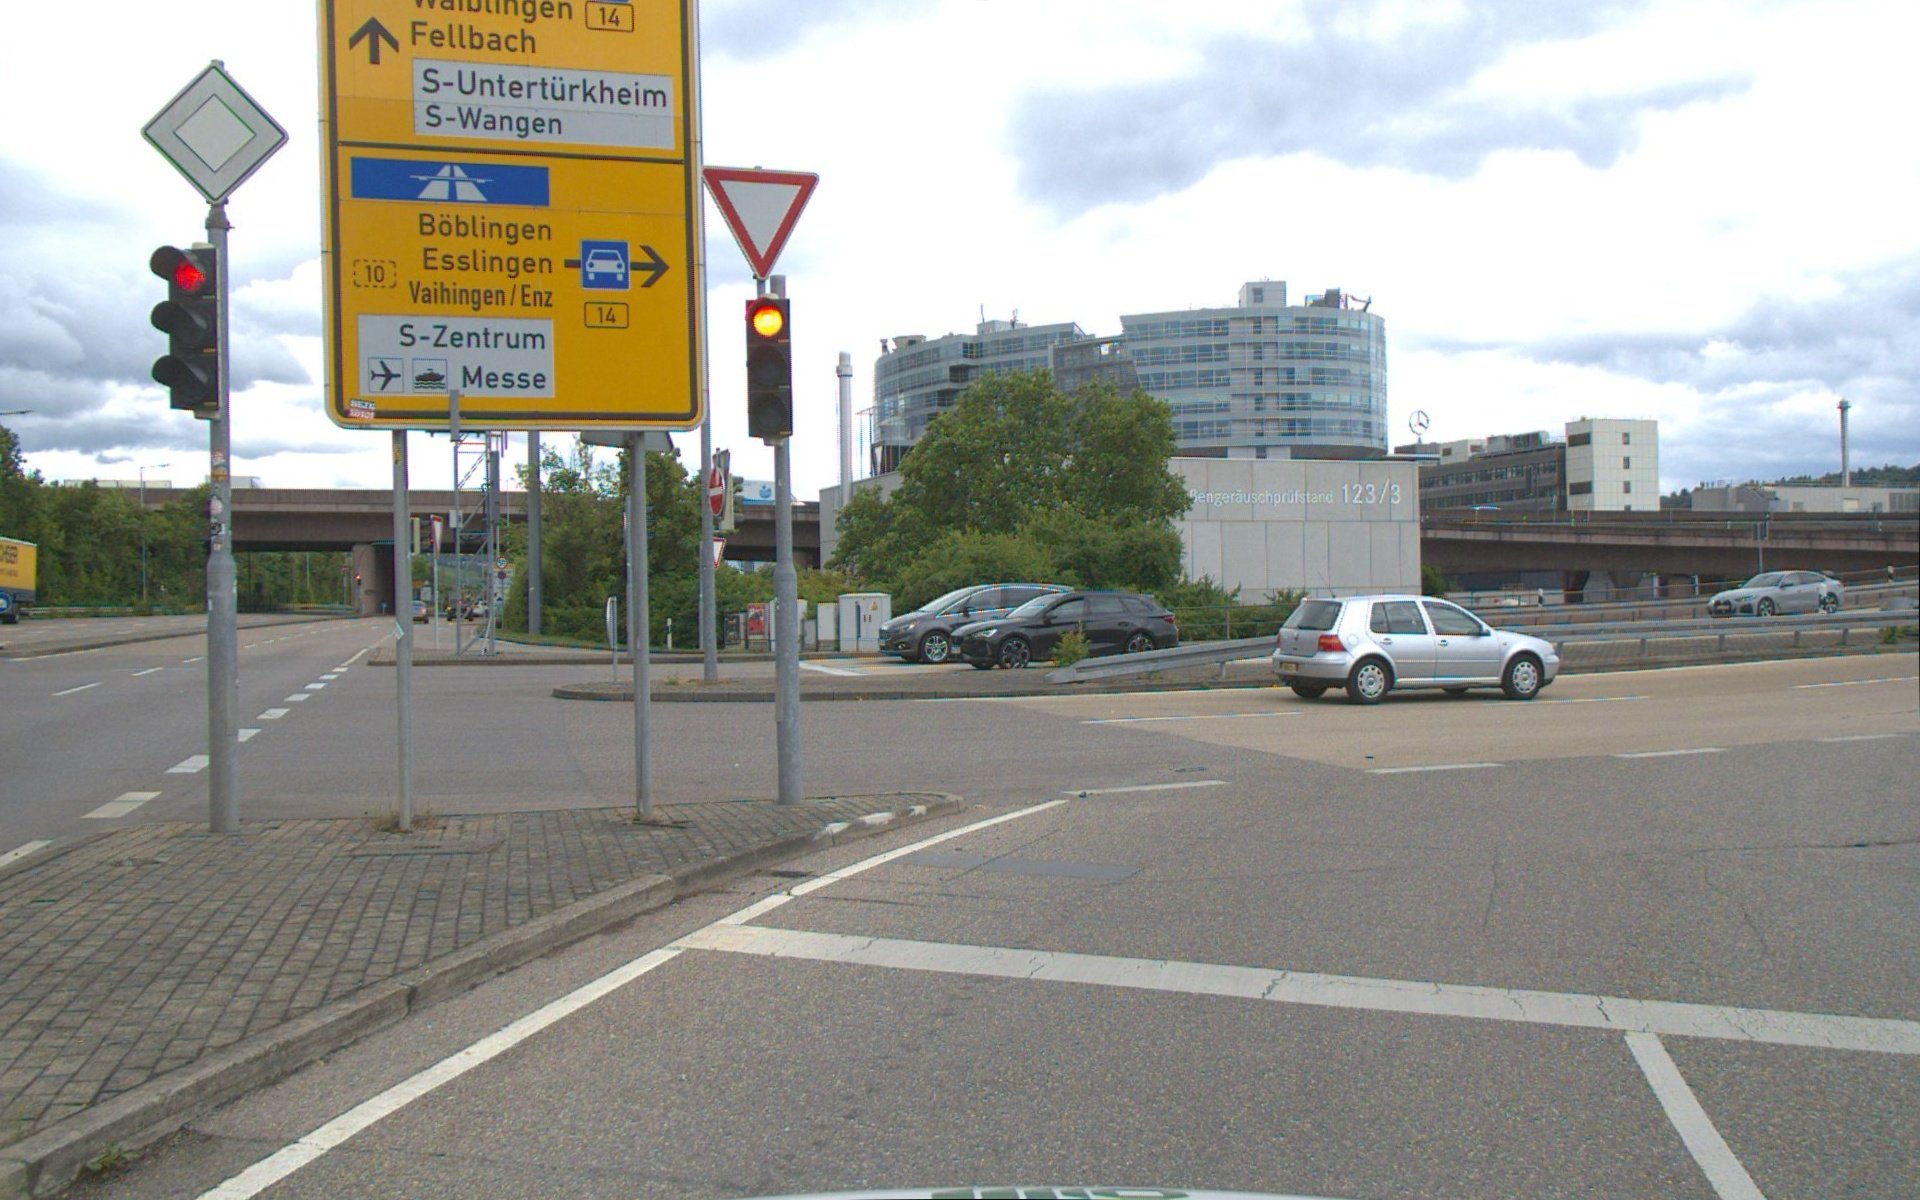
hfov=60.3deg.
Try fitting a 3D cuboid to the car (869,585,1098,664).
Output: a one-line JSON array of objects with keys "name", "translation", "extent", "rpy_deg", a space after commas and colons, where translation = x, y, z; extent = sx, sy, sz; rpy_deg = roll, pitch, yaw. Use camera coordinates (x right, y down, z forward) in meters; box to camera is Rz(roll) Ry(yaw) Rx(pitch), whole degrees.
[{"name": "car", "translation": [0.503, 0.498, 35.876], "extent": [4.608, 1.599, 1.945], "rpy_deg": [0, 1, -20]}]

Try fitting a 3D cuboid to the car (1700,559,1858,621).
[{"name": "car", "translation": [25.901, -0.324, 52.296], "extent": [4.669, 1.691, 1.901], "rpy_deg": [3, 0, -24]}]

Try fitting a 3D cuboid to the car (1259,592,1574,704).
[{"name": "car", "translation": [6.367, 0.620, 23.113], "extent": [3.992, 1.425, 1.720], "rpy_deg": [-1, 1, -19]}]

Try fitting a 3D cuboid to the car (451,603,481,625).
[{"name": "car", "translation": [-35.741, 1.028, 119.766], "extent": [1.960, 1.490, 4.093], "rpy_deg": [1, -2, -15]}]

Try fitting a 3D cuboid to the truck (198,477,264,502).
[{"name": "truck", "translation": [-71.746, -10.876, 162.787], "extent": [5.508, 2.201, 1.999], "rpy_deg": [1, 0, -2]}]

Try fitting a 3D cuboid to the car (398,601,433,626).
[{"name": "car", "translation": [-34.217, 0.893, 104.001], "extent": [1.962, 1.467, 4.090], "rpy_deg": [1, -2, -17]}]

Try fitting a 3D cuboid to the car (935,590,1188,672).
[{"name": "car", "translation": [1.961, 0.560, 32.083], "extent": [4.540, 1.482, 1.943], "rpy_deg": [0, 1, -22]}]

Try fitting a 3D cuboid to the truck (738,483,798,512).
[{"name": "truck", "translation": [-16.944, -9.044, 146.059], "extent": [4.953, 2.362, 2.001], "rpy_deg": [1, 0, 4]}]

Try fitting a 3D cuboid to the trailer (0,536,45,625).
[{"name": "trailer", "translation": [-46.532, -0.988, 78.284], "extent": [2.824, 4.155, 11.380], "rpy_deg": [2, 0, -15]}]
